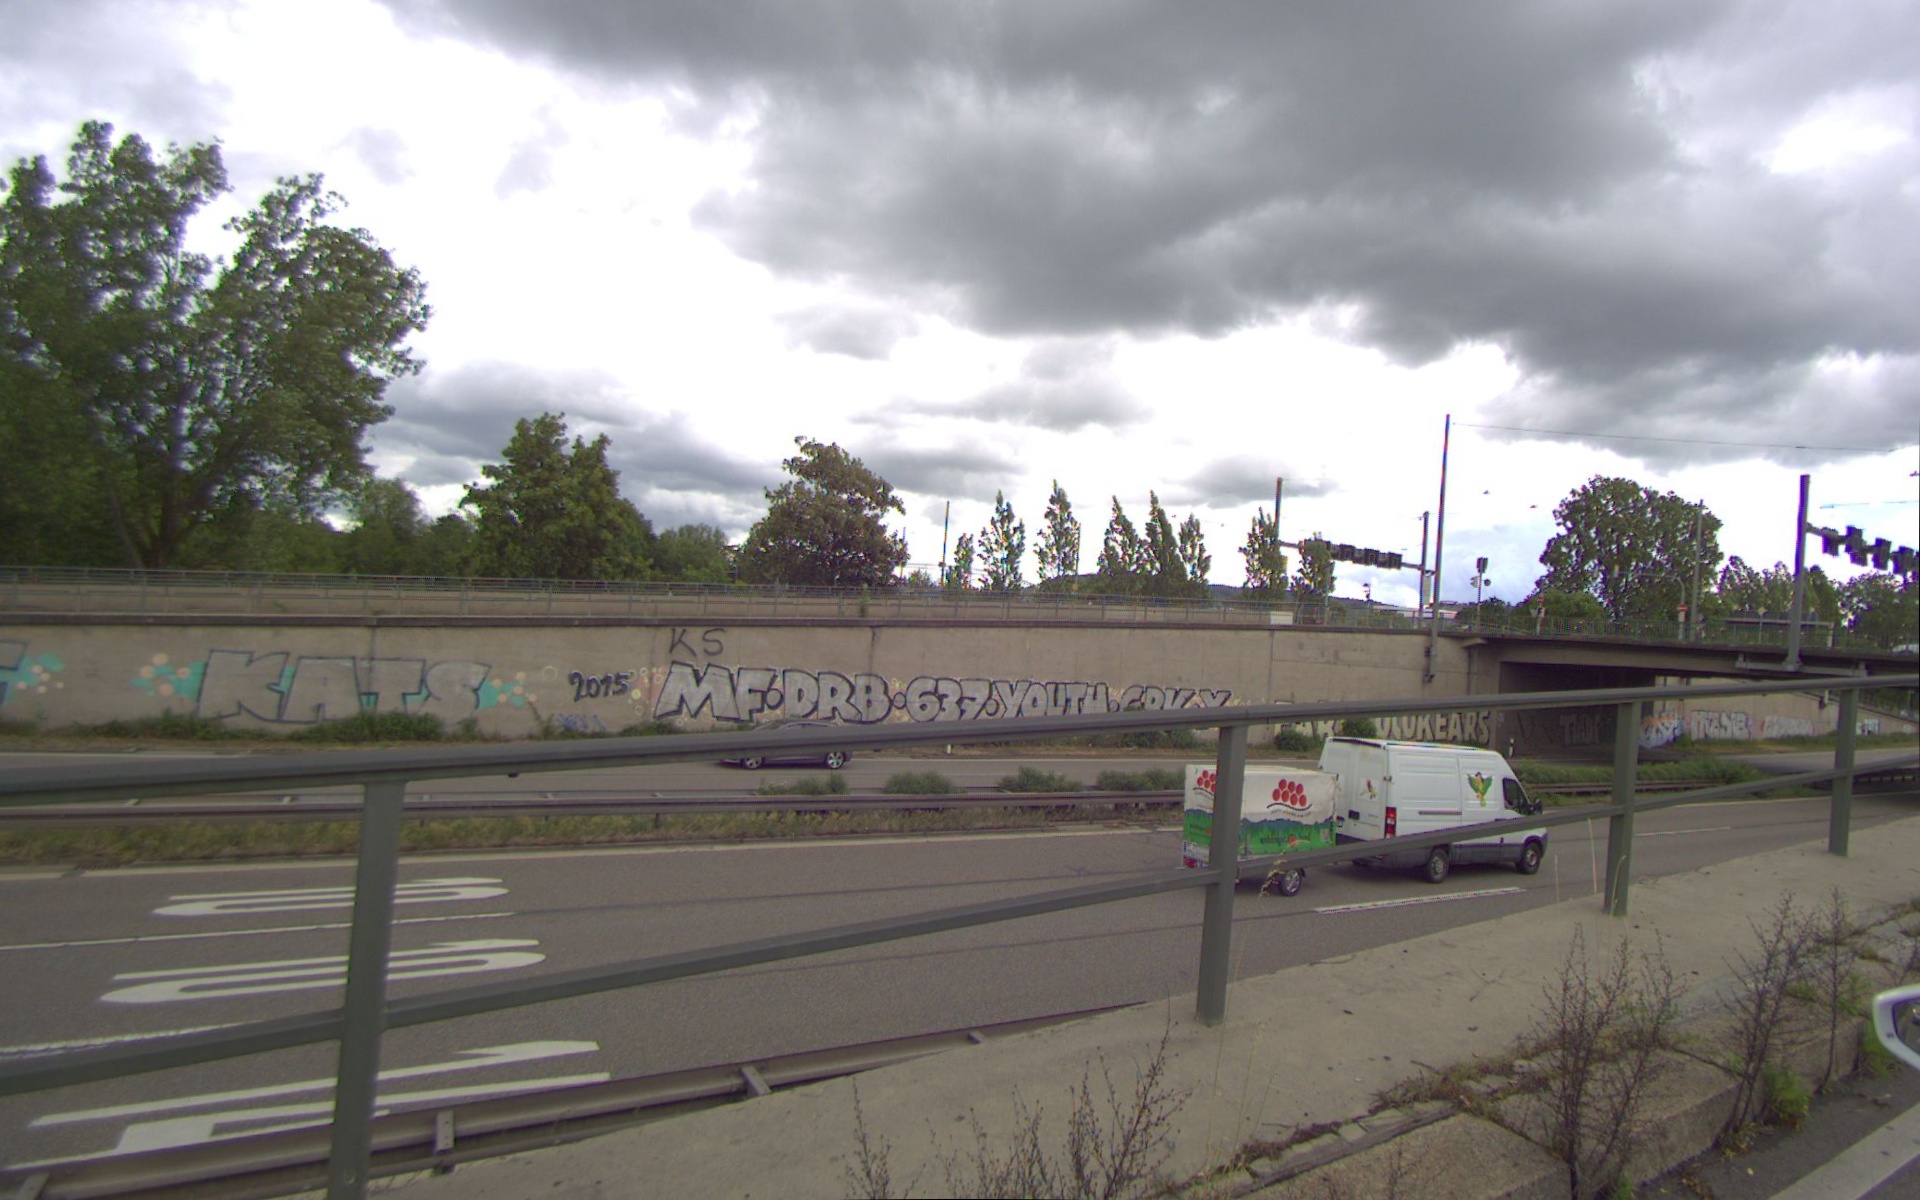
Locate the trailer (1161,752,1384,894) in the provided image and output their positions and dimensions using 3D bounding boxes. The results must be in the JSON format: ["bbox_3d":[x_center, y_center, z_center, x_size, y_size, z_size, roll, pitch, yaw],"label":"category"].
[{"bbox_3d":[5.869,4.058,18.774,3.892,2.157,1.720,6,-2,-30],"label":"trailer"}]

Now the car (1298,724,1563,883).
[{"bbox_3d":[10.002,4.173,21.171,5.866,2.719,1.984,6,-2,-30],"label":"car"}]

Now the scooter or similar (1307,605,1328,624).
[{"bbox_3d":[22.573,0.943,63.426,1.403,1.108,0.539,4,-2,-36],"label":"scooter or similar"}]

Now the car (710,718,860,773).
[{"bbox_3d":[-5.266,4.403,30.393,4.065,1.393,1.702,6,-4,-31],"label":"car"}]

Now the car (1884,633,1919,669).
[{"bbox_3d":[52.307,2.781,53.459,1.975,1.895,4.183,2,0,-27],"label":"car"}]
